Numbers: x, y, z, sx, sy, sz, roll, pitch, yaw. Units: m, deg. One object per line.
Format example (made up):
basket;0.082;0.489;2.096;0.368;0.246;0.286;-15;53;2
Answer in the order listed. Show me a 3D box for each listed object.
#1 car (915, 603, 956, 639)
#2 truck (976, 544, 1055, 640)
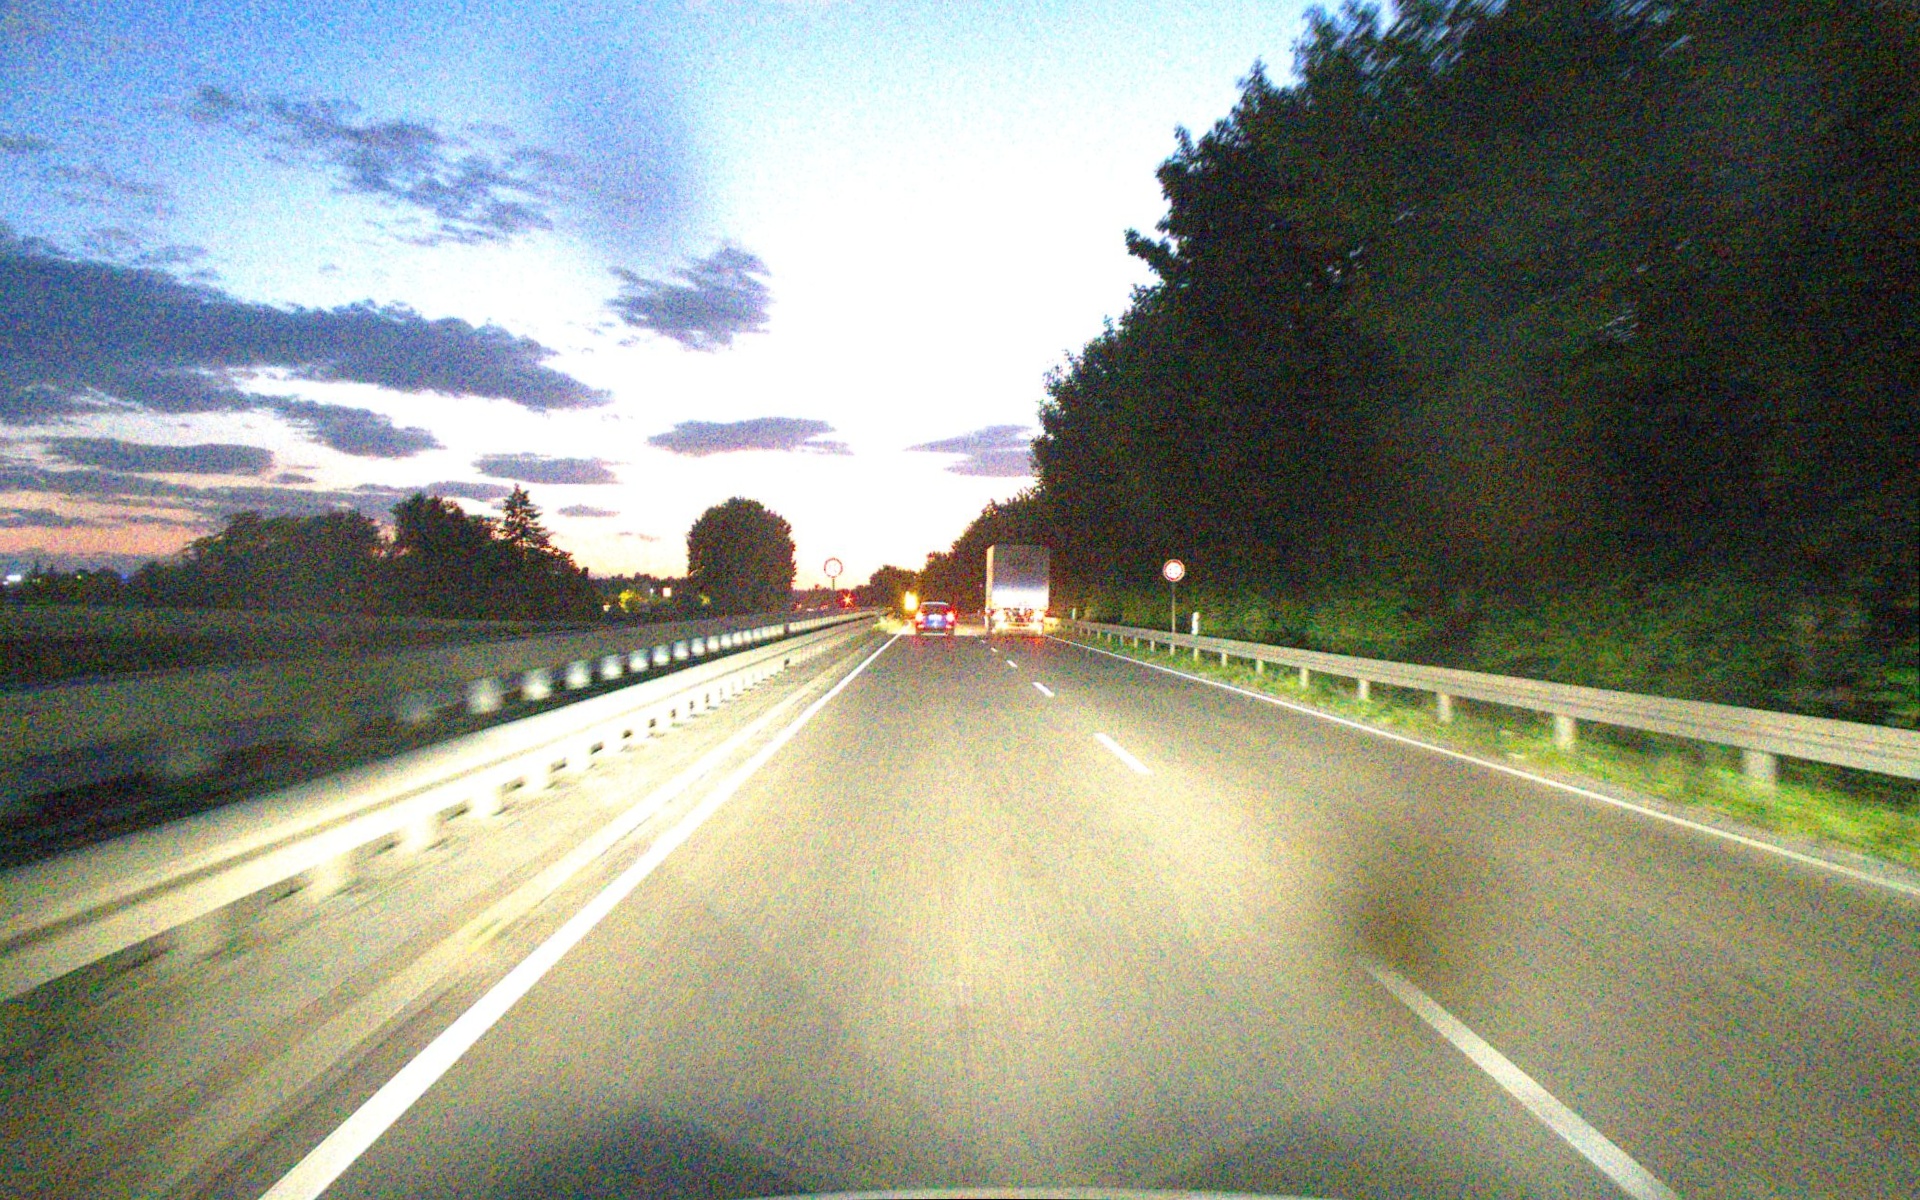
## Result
car;-1.086;0.881;71.228;1.661;1.478;3.912;1;0;-2
truck;2.493;-0.369;78.758;2.825;4.178;12.677;1;0;-2
